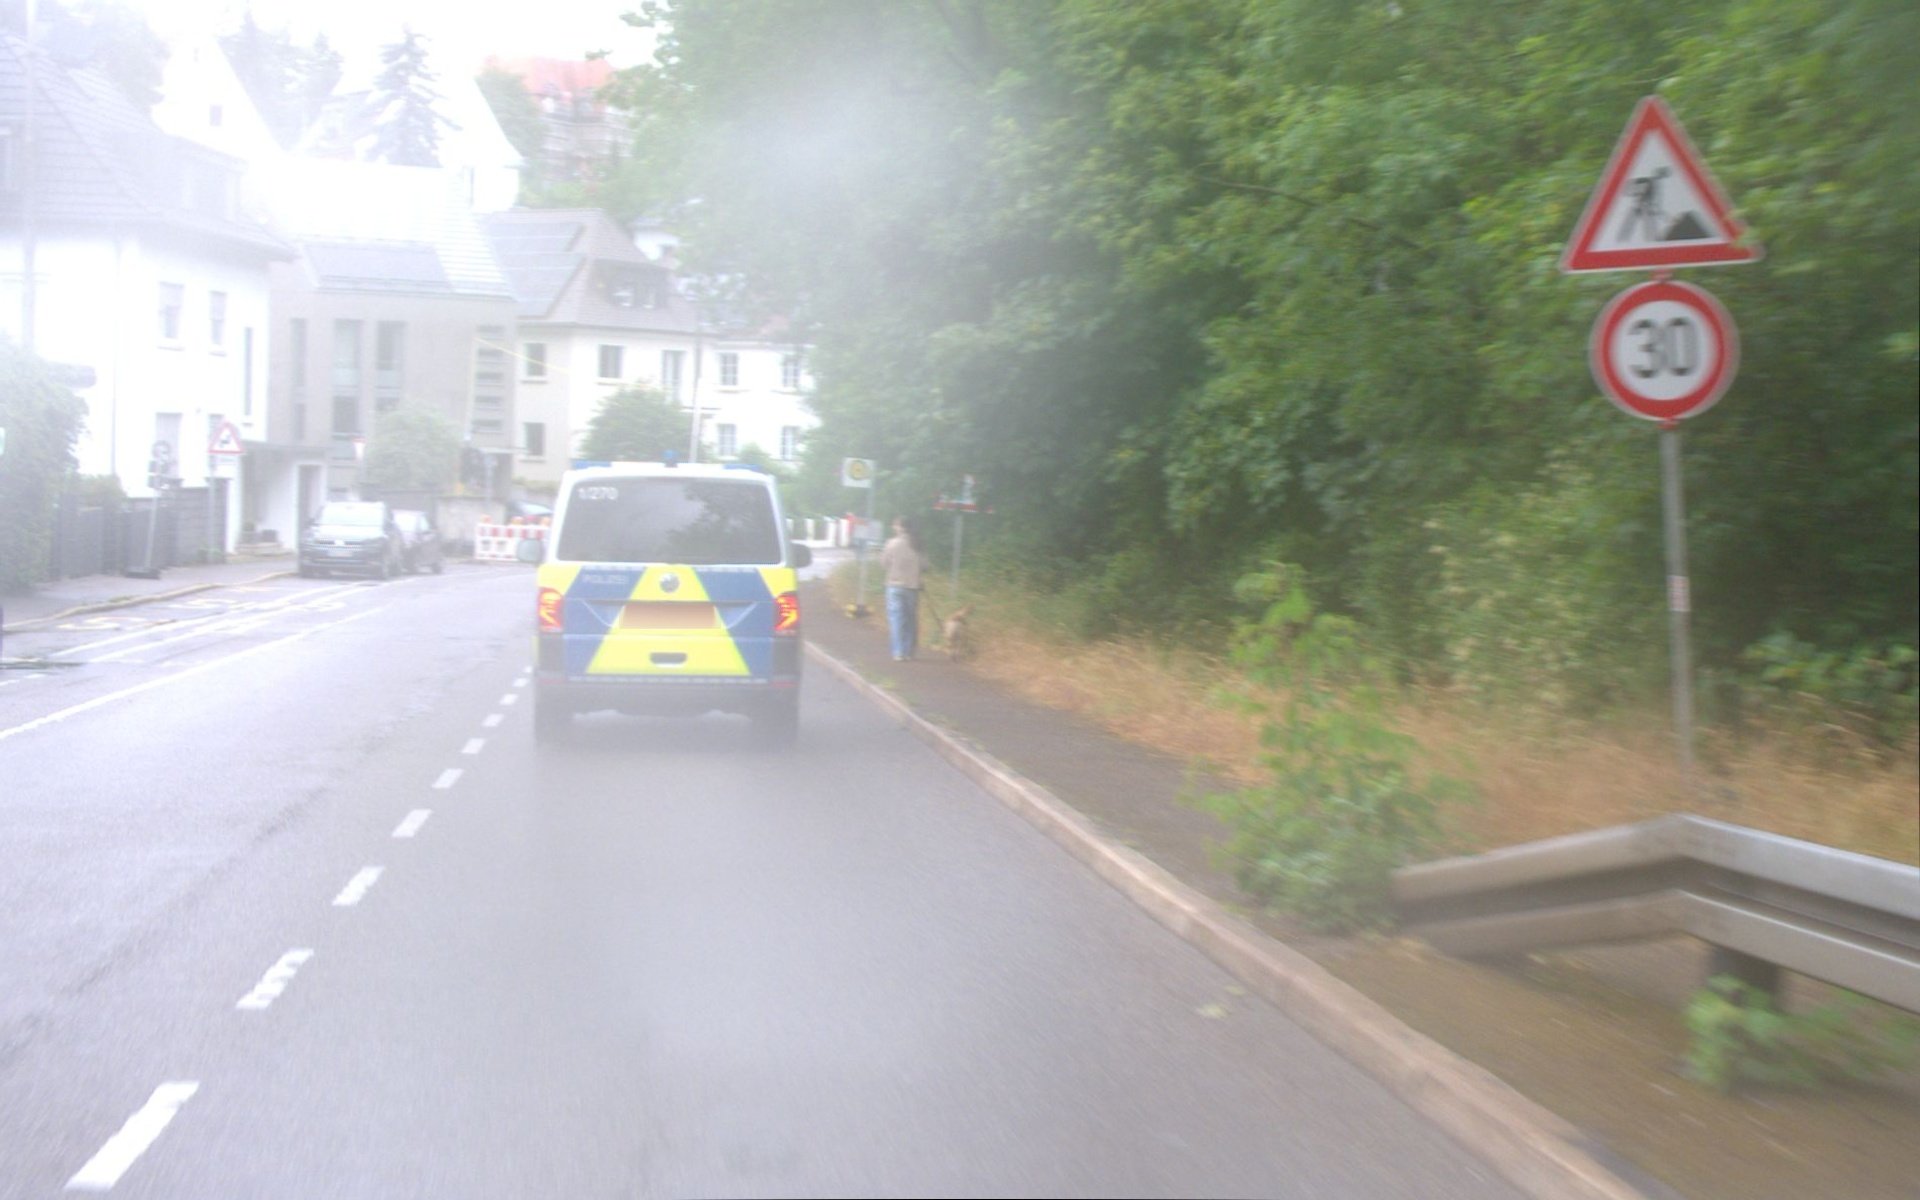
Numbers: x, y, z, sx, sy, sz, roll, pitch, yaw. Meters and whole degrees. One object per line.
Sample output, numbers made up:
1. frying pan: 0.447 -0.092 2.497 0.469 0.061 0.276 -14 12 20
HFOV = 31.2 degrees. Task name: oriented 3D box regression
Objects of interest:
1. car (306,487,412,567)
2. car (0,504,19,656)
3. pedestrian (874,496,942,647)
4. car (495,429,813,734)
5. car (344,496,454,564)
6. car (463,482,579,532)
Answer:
1. car: -12.972 -1.599 74.408 1.754 1.653 4.406 0 2 -3
2. car: -9.928 -0.164 32.343 1.519 1.449 3.030 0 2 -4
3. pedestrian: -0.568 -0.305 37.284 0.641 1.605 0.670 2 0 -6
4. car: -2.141 -0.133 25.209 1.993 2.007 4.402 1 0 -1
5. car: -12.958 -1.646 79.565 1.616 1.435 4.230 2 2 3
6. car: -14.742 -3.131 115.418 1.834 1.438 3.999 1 3 -43
